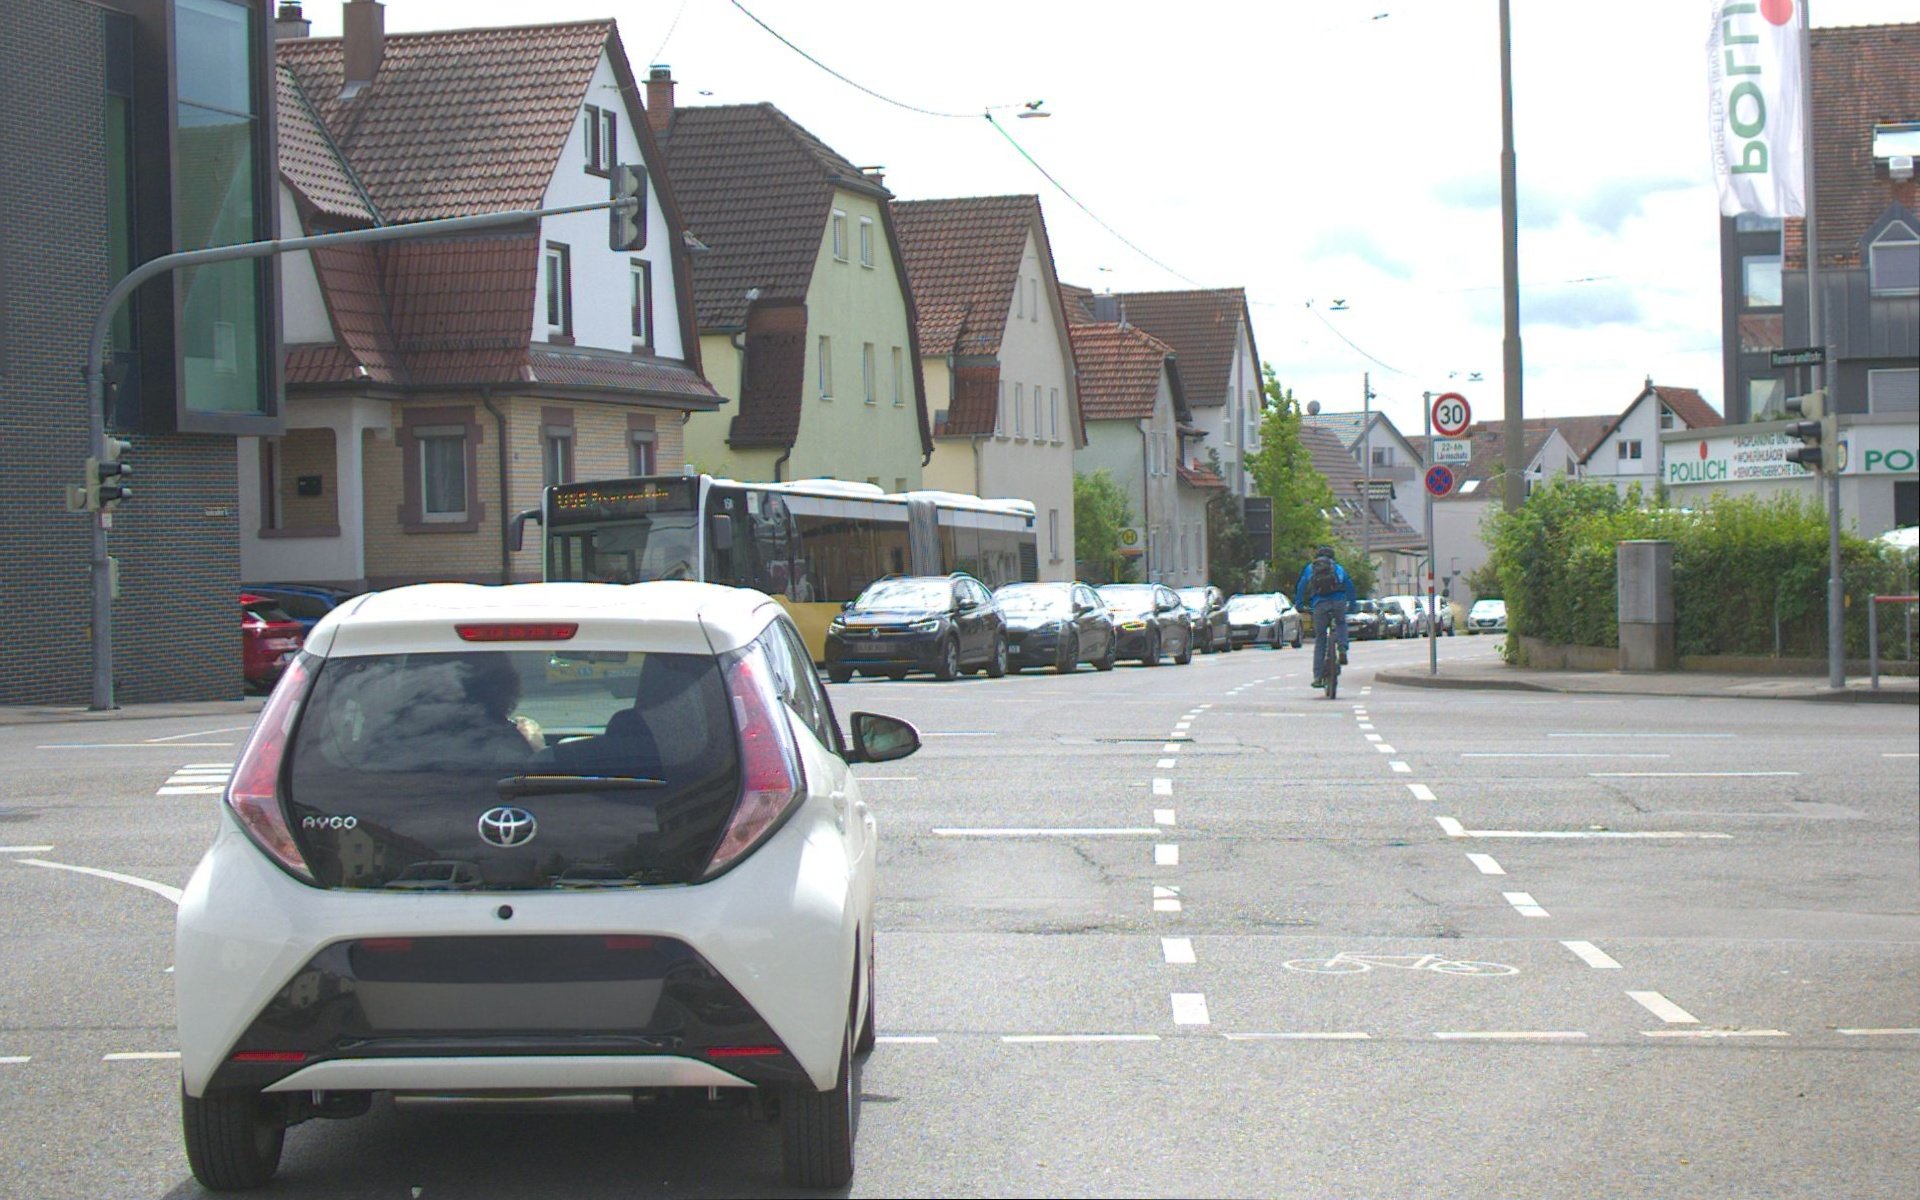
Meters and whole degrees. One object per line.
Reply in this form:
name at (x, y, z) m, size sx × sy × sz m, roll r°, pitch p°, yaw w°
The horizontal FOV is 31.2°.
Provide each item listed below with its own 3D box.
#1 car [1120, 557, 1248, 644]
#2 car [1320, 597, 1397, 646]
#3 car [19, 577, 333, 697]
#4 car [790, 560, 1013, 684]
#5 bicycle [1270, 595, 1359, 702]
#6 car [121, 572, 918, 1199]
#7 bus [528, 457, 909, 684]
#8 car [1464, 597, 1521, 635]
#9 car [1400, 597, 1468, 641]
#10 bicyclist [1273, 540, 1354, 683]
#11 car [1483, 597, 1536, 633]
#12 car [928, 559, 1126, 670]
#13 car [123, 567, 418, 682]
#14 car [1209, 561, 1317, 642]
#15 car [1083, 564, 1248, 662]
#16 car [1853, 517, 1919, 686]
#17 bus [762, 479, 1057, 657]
car at (5.354, -0.005, 81.695) m, size 1.995 × 2.007 × 3.996 m, roll 0°, pitch 1°, yaw 20°
car at (13.881, 0.739, 119.612) m, size 1.995 × 1.634 × 3.997 m, roll 0°, pitch 1°, yaw 17°
car at (-11.429, 0.511, 50.200) m, size 3.989 × 1.634 × 1.999 m, roll 1°, pitch 1°, yaw 13°
car at (-0.771, 0.269, 48.168) m, size 1.995 × 1.634 × 3.997 m, roll 0°, pitch 1°, yaw 17°
bicycle at (4.045, 0.540, 39.379) m, size 0.832 × 1.160 × 2.192 m, roll 0°, pitch 1°, yaw 1°
car at (-1.021, 0.665, 9.565) m, size 1.738 × 1.455 × 3.532 m, roll 0°, pitch 1°, yaw 0°
bus at (-3.352, -0.466, 50.928) m, size 2.780 × 3.050 × 9.185 m, roll 0°, pitch 1°, yaw 15°
car at (24.032, 0.718, 155.184) m, size 1.995 × 1.634 × 3.997 m, roll 0°, pitch 1°, yaw 17°
car at (18.484, 0.738, 133.961) m, size 1.995 × 1.634 × 3.997 m, roll 0°, pitch 1°, yaw 17°
bicyclist at (4.040, 0.121, 39.338) m, size 0.840 × 1.609 × 1.083 m, roll 0°, pitch 1°, yaw 2°
car at (26.465, 0.705, 165.503) m, size 1.995 × 1.634 × 3.997 m, roll 0°, pitch 1°, yaw 17°
car at (1.085, 0.191, 53.349) m, size 1.995 × 1.634 × 4.180 m, roll 0°, pitch 1°, yaw 17°
car at (-10.631, 0.351, 53.109) m, size 3.989 × 1.678 × 1.999 m, roll 1°, pitch 1°, yaw 13°
car at (7.849, 0.014, 88.790) m, size 1.995 × 2.007 × 3.997 m, roll 0°, pitch 1°, yaw 17°
car at (3.616, 0.196, 59.890) m, size 1.995 × 1.634 × 3.997 m, roll 0°, pitch 1°, yaw 17°
car at (13.252, 0.004, 42.171) m, size 3.986 × 2.007 × 2.001 m, roll 0°, pitch 1°, yaw -8°
bus at (-0.721, -0.587, 60.757) m, size 2.780 × 2.905 × 9.185 m, roll 0°, pitch 1°, yaw 15°
